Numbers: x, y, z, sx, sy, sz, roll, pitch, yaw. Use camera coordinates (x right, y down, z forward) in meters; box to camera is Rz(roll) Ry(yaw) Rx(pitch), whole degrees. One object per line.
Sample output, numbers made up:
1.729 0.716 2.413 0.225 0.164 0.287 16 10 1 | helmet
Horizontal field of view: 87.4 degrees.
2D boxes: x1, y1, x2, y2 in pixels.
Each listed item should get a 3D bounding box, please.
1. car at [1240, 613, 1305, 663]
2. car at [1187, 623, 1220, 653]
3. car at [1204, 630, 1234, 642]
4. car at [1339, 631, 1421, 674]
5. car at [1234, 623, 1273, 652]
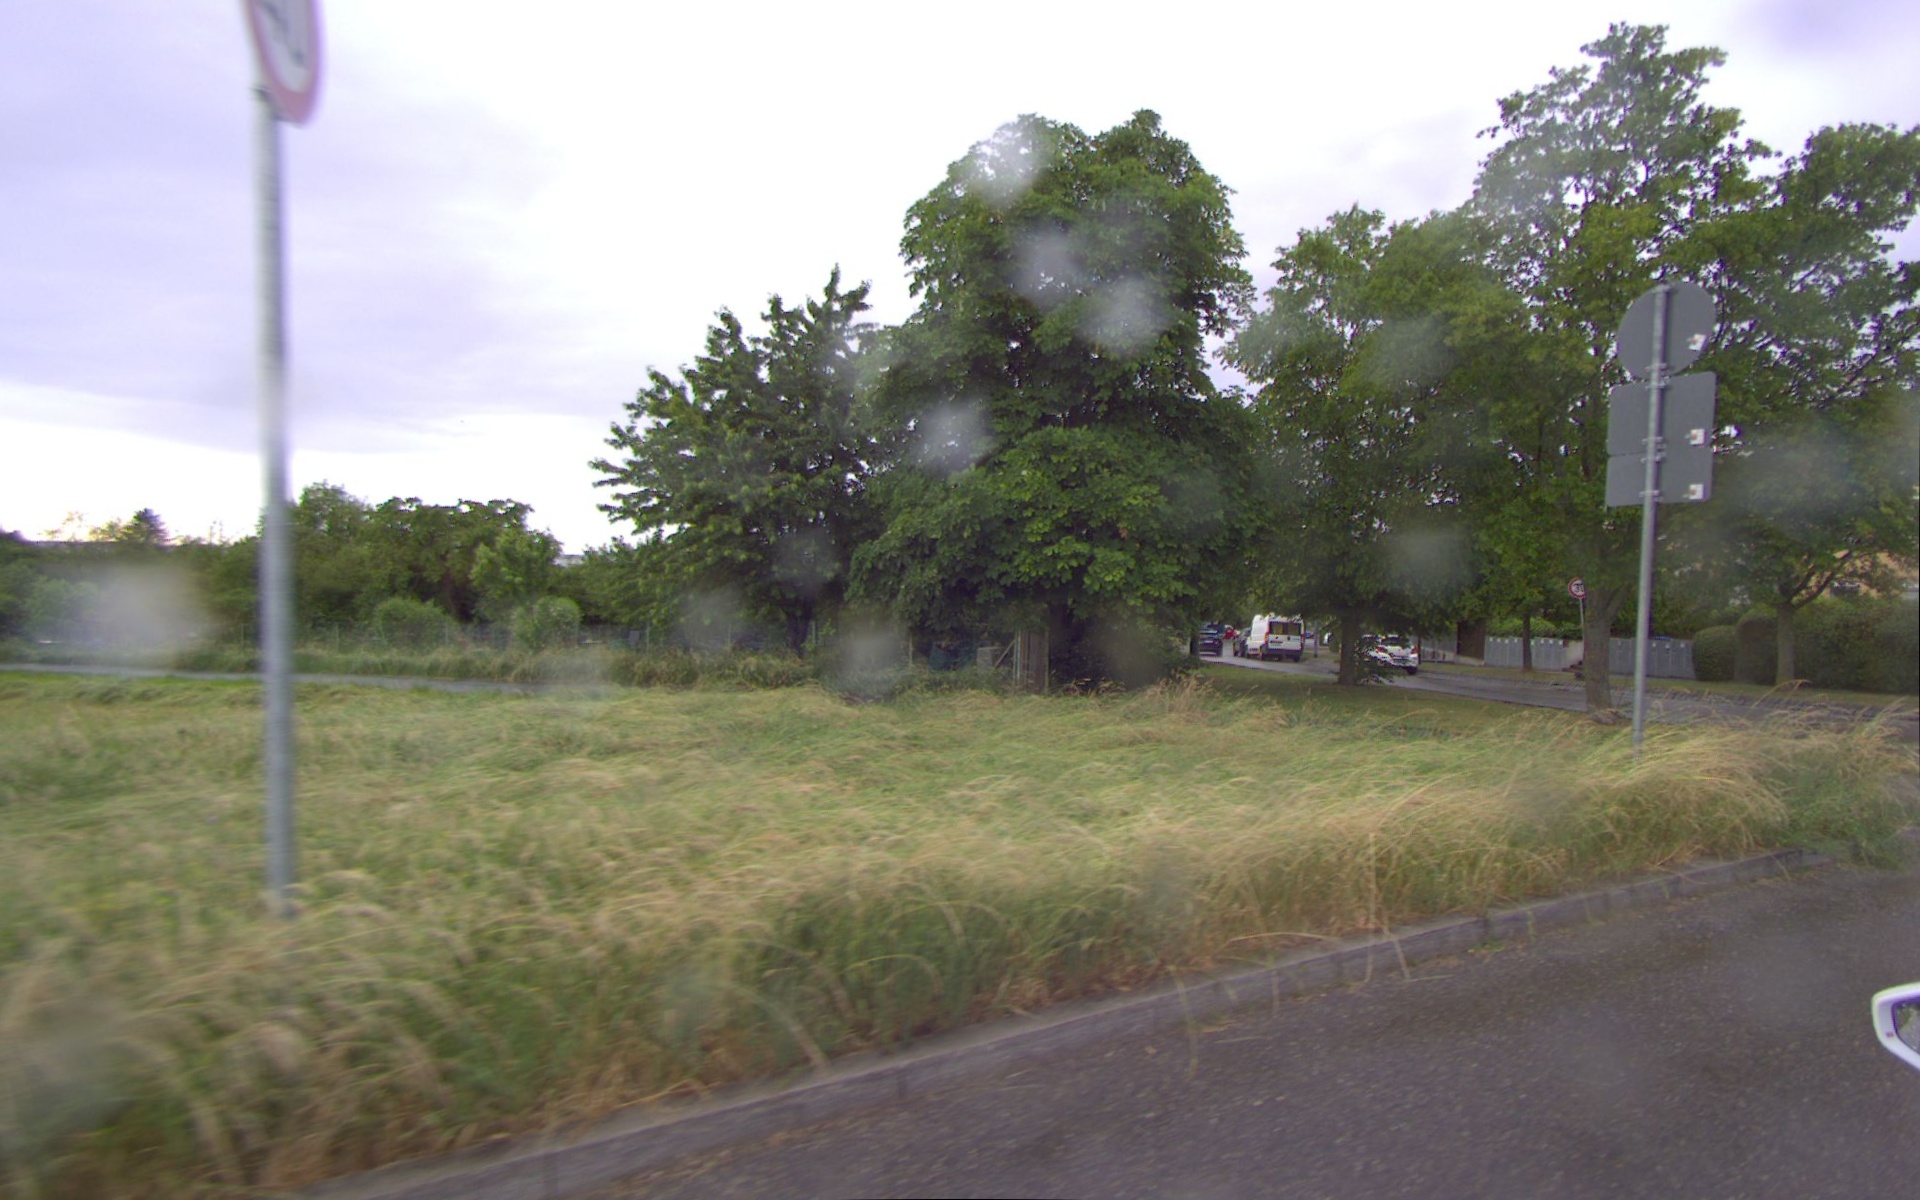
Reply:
16.938 2.026 54.711 2.082 2.500 5.513 2 -1 4 | car
14.640 2.252 60.563 1.657 1.573 3.699 2 1 11 | car
33.758 4.672 130.879 3.504 1.627 1.692 0 -2 23 | car
16.346 2.014 39.293 1.579 1.522 3.726 2 -1 -1 | car
17.536 2.215 60.071 1.657 1.573 3.699 1 1 7 | car
